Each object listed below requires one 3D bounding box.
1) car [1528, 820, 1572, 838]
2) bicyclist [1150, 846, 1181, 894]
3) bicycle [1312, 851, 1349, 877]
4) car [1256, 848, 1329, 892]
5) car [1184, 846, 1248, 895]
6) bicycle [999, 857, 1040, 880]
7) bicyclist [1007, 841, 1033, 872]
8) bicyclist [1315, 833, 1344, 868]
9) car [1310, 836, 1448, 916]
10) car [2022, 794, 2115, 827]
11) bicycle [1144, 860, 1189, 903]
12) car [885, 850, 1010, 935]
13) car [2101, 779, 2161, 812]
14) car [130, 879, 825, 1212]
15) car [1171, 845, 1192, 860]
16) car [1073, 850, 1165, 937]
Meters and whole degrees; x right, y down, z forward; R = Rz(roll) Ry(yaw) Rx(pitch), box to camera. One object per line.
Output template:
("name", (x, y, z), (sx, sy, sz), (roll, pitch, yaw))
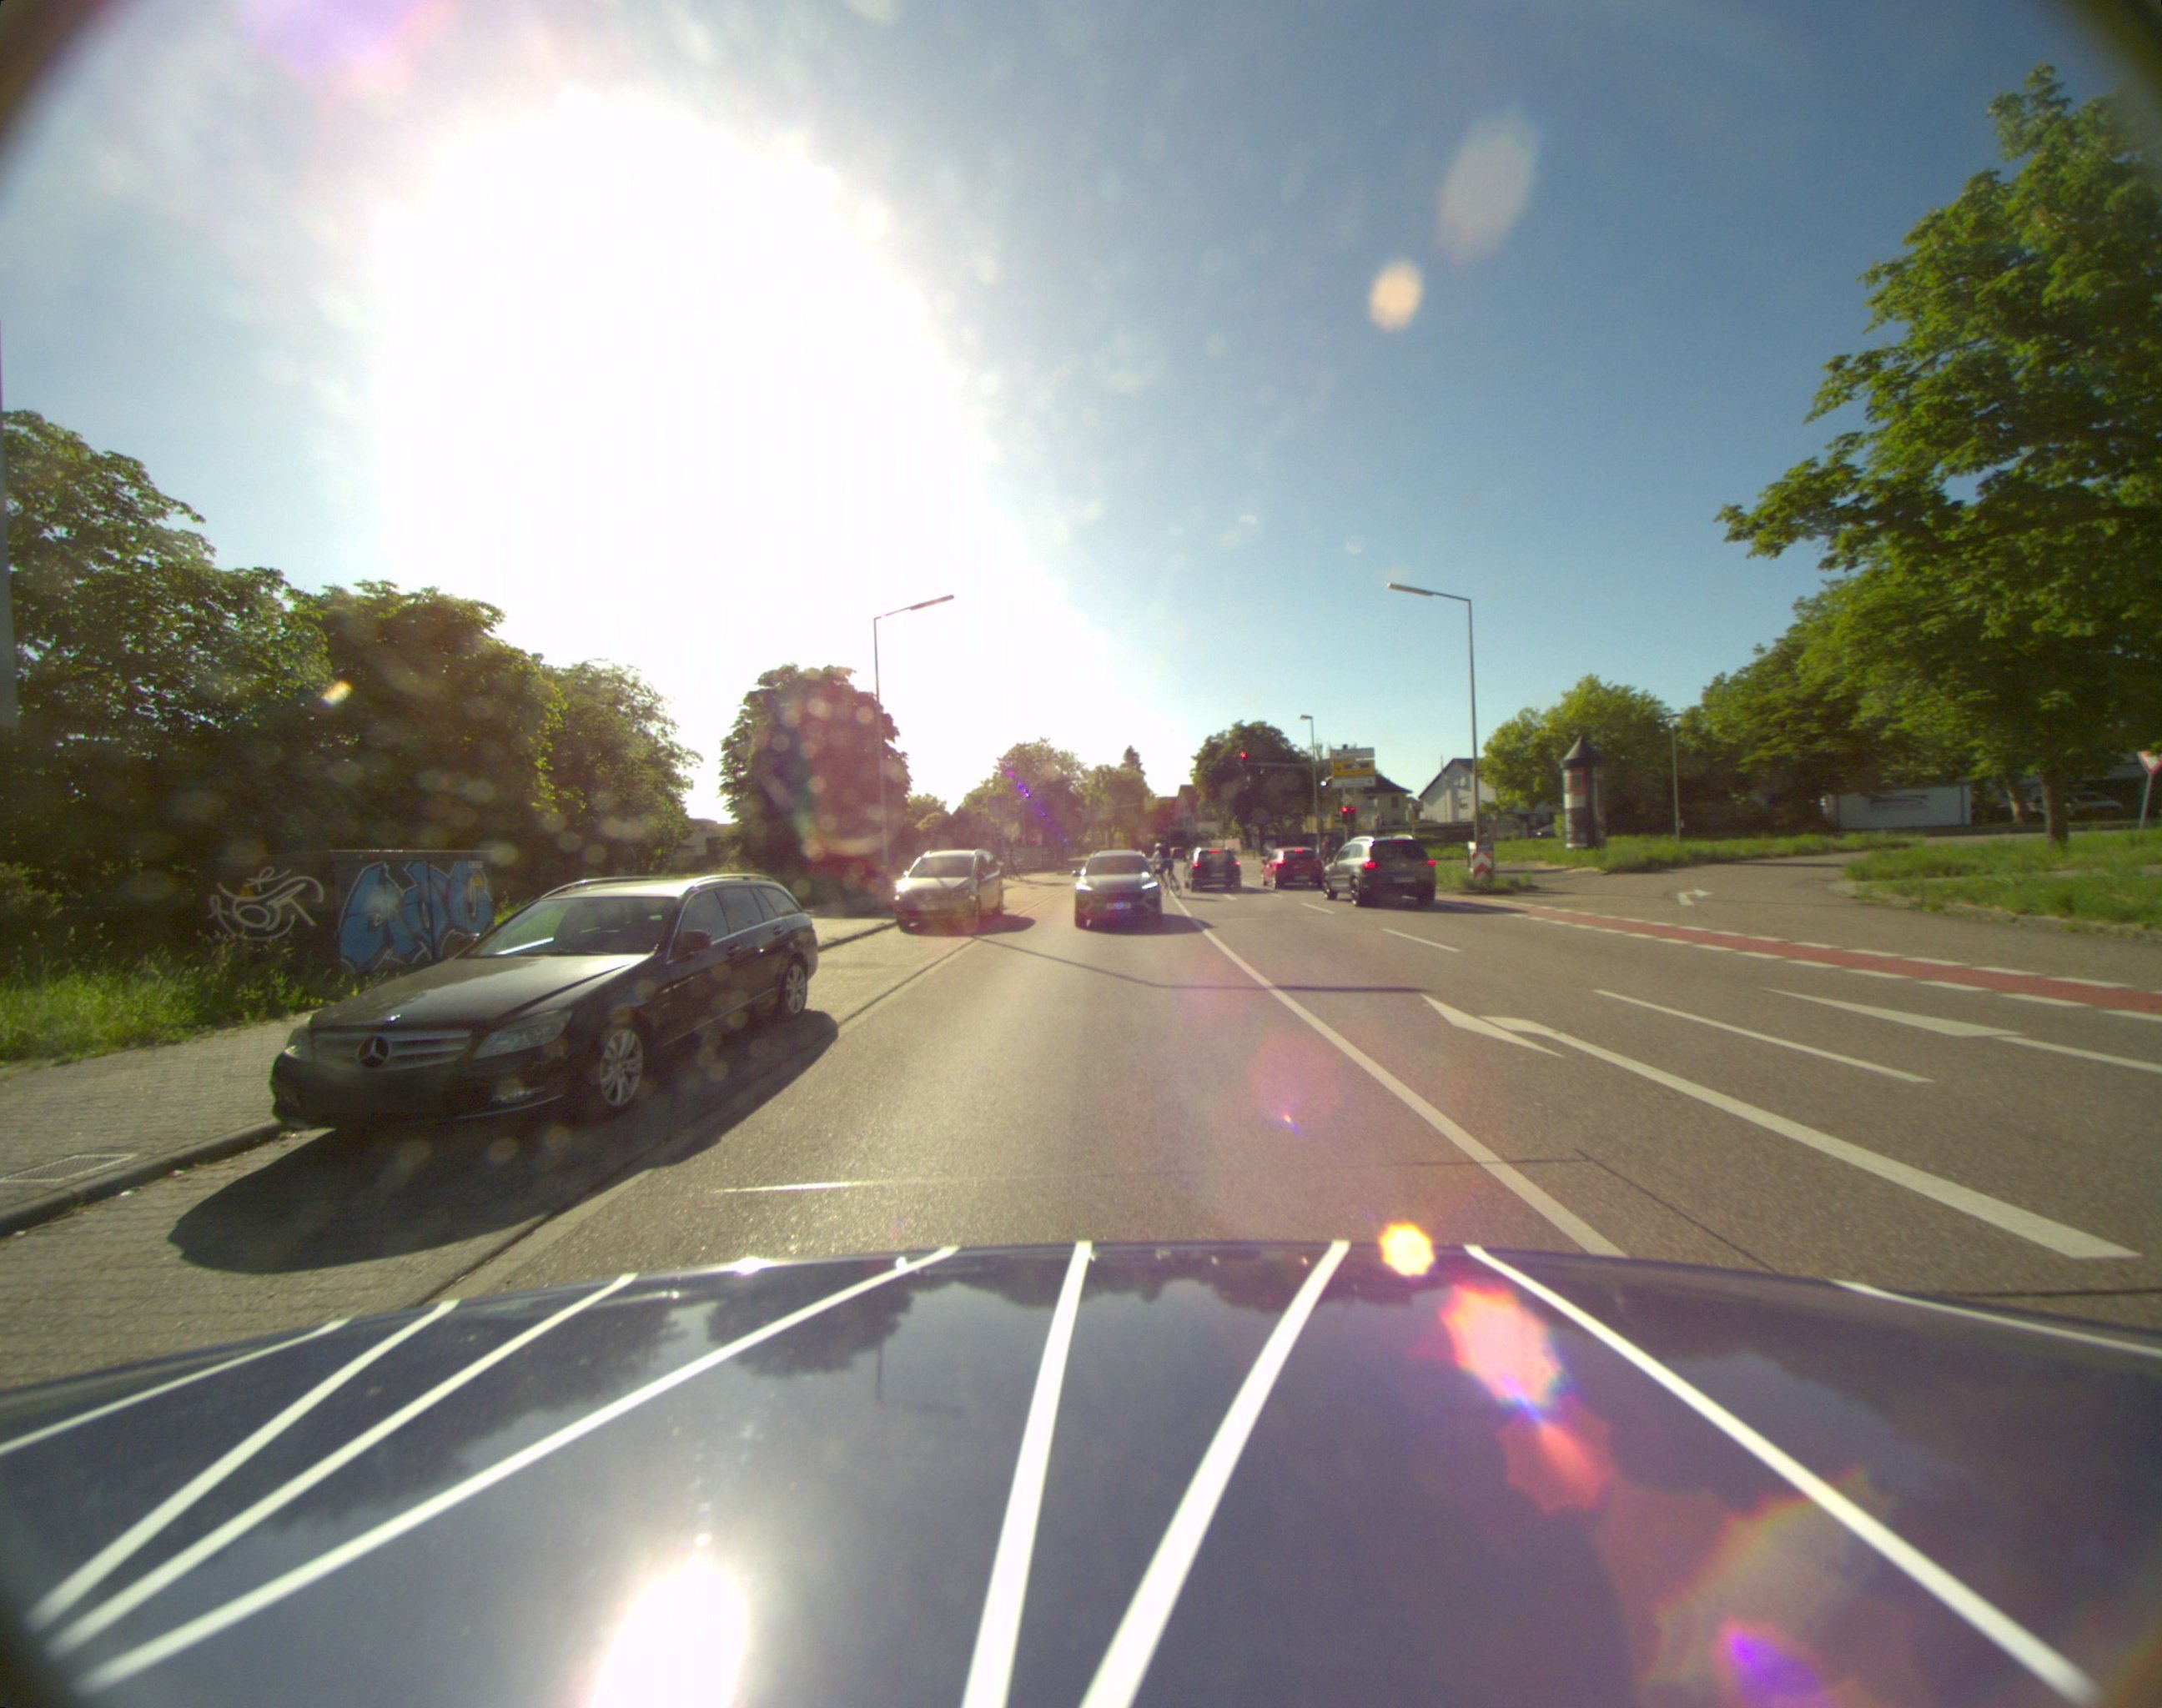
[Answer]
("car", (47.797, -2.589, 77.445), (4.005, 1.547, 1.996), (-3, 0, -29))
("bicyclist", (2.733, 0.511, 24.611), (0.774, 1.476, 0.825), (-3, 0, -4))
("bicycle", (10.451, 0.412, 31.903), (0.939, 1.011, 2.198), (-3, 0, 5))
("car", (7.627, 0.538, 27.688), (1.788, 1.406, 3.891), (-2, 1, 4))
("car", (4.856, 0.562, 27.891), (1.917, 1.590, 4.001), (-3, 0, 5))
("bicycle", (-3.404, 0.791, 42.608), (0.901, 1.119, 2.958), (-3, 0, 25))
("bicyclist", (-3.414, 0.147, 42.654), (0.890, 1.683, 1.192), (-3, 0, 25))
("bicyclist", (10.413, -0.152, 31.888), (0.935, 1.393, 0.823), (-3, 0, 5))
("car", (7.400, 0.502, 19.360), (1.857, 1.725, 4.271), (-3, 0, 2))
("car", (67.384, -2.928, 51.946), (1.996, 2.002, 4.005), (-3, 0, 19))
("bicycle", (2.744, 0.847, 24.745), (0.795, 1.218, 3.211), (-3, 0, -5))
("car", (-3.029, 0.806, 18.270), (1.877, 1.712, 4.613), (-1, 1, 4))
("car", (71.425, -3.928, 50.766), (1.996, 2.002, 4.005), (-3, 0, 19))
("car", (-3.721, 1.021, 5.956), (1.813, 1.411, 4.424), (-3, 0, 1))
("car", (11.282, -0.199, 85.220), (1.860, 1.461, 4.142), (-2, 1, 14))
("car", (0.967, 0.777, 17.040), (1.714, 1.636, 4.056), (-2, 1, 7))
